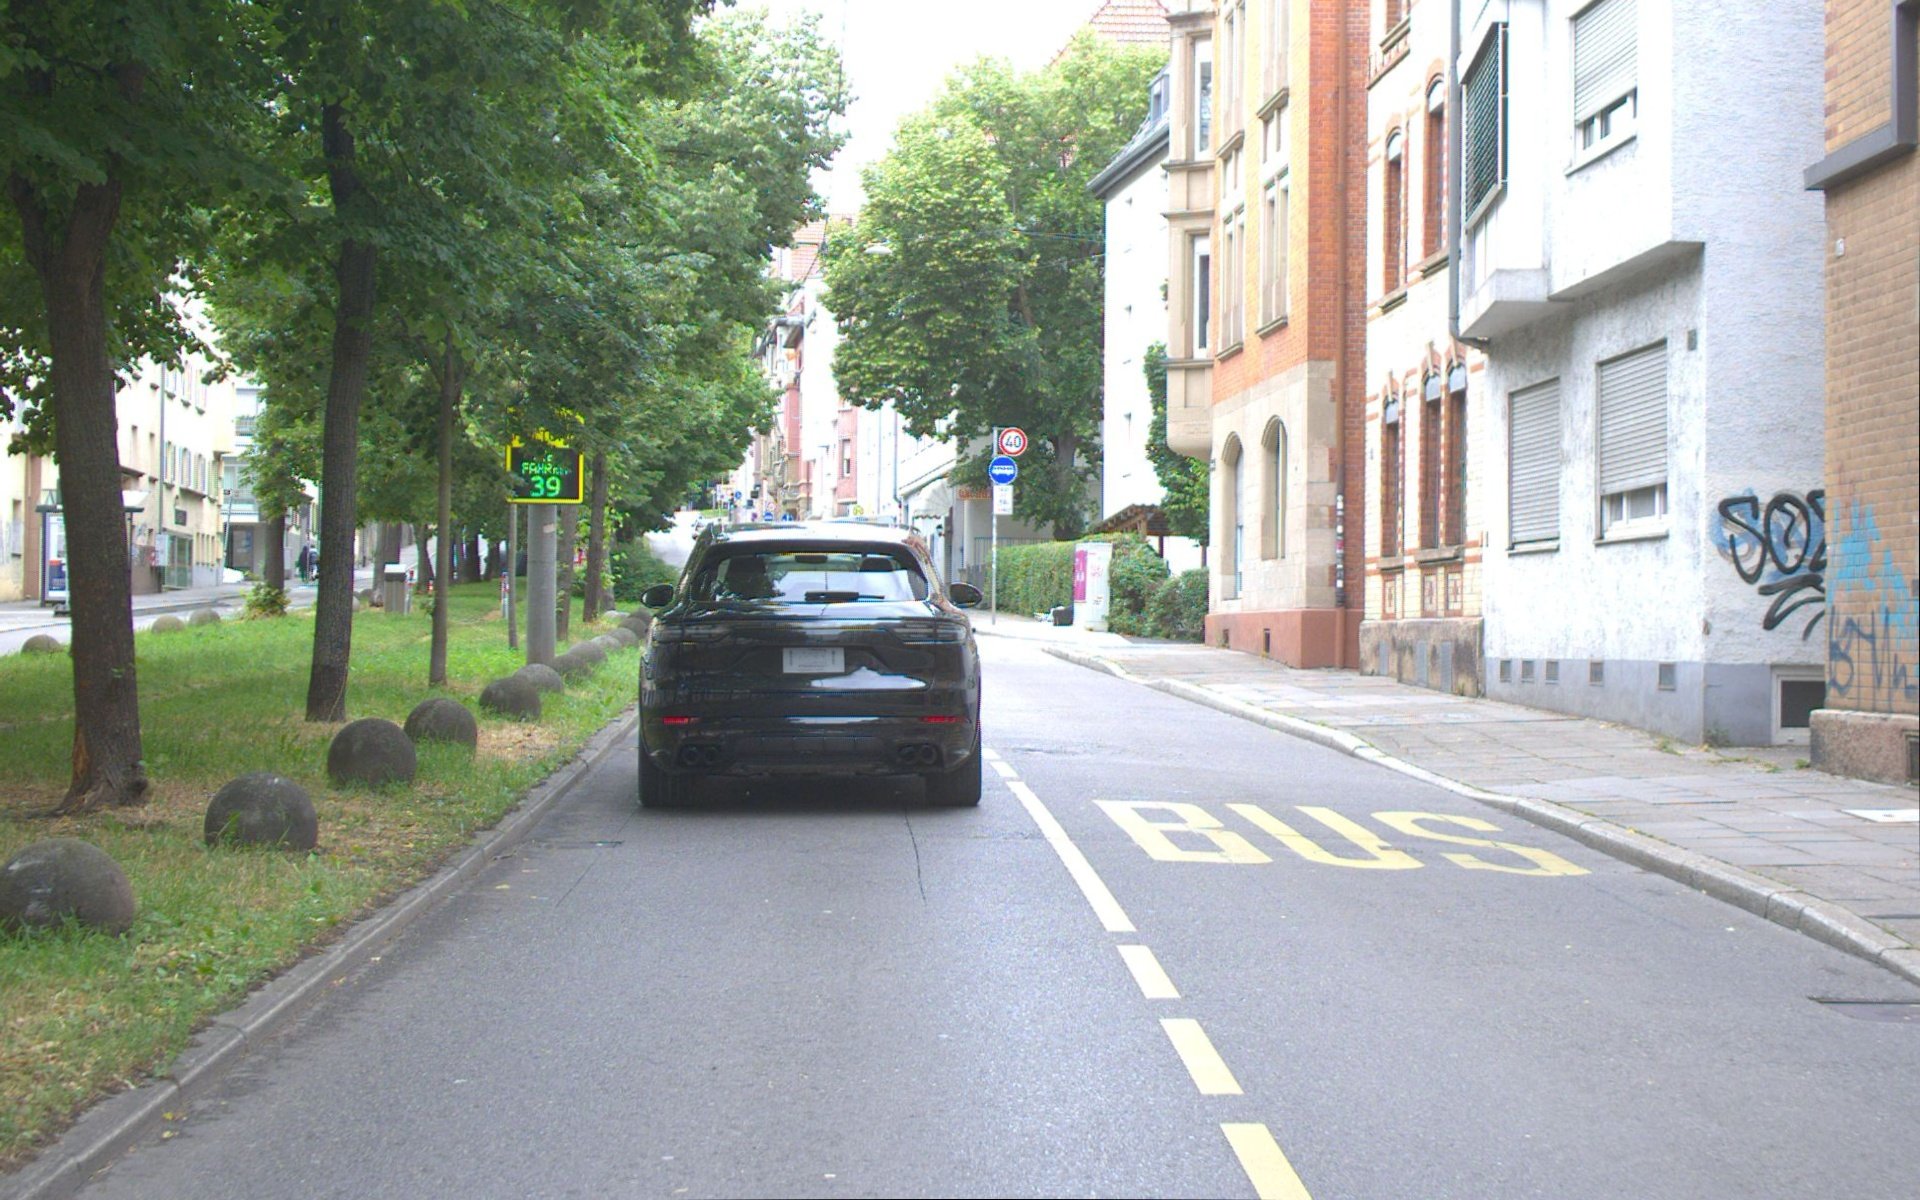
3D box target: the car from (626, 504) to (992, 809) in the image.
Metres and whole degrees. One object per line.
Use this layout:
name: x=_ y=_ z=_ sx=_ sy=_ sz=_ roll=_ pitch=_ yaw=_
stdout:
car: x=-1.027 y=0.299 z=20.976 sx=1.903 sy=1.660 sz=4.136 roll=1 pitch=0 yaw=-7

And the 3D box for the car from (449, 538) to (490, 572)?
car: x=-26.268 y=-2.417 z=184.167 sx=1.948 sy=1.623 sz=4.366 roll=-5 pitch=1 yaw=-6

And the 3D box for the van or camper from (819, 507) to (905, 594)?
van or camper: x=-3.338 y=-1.645 z=115.863 sx=2.479 sy=2.793 sz=7.239 roll=1 pitch=0 yaw=-5
